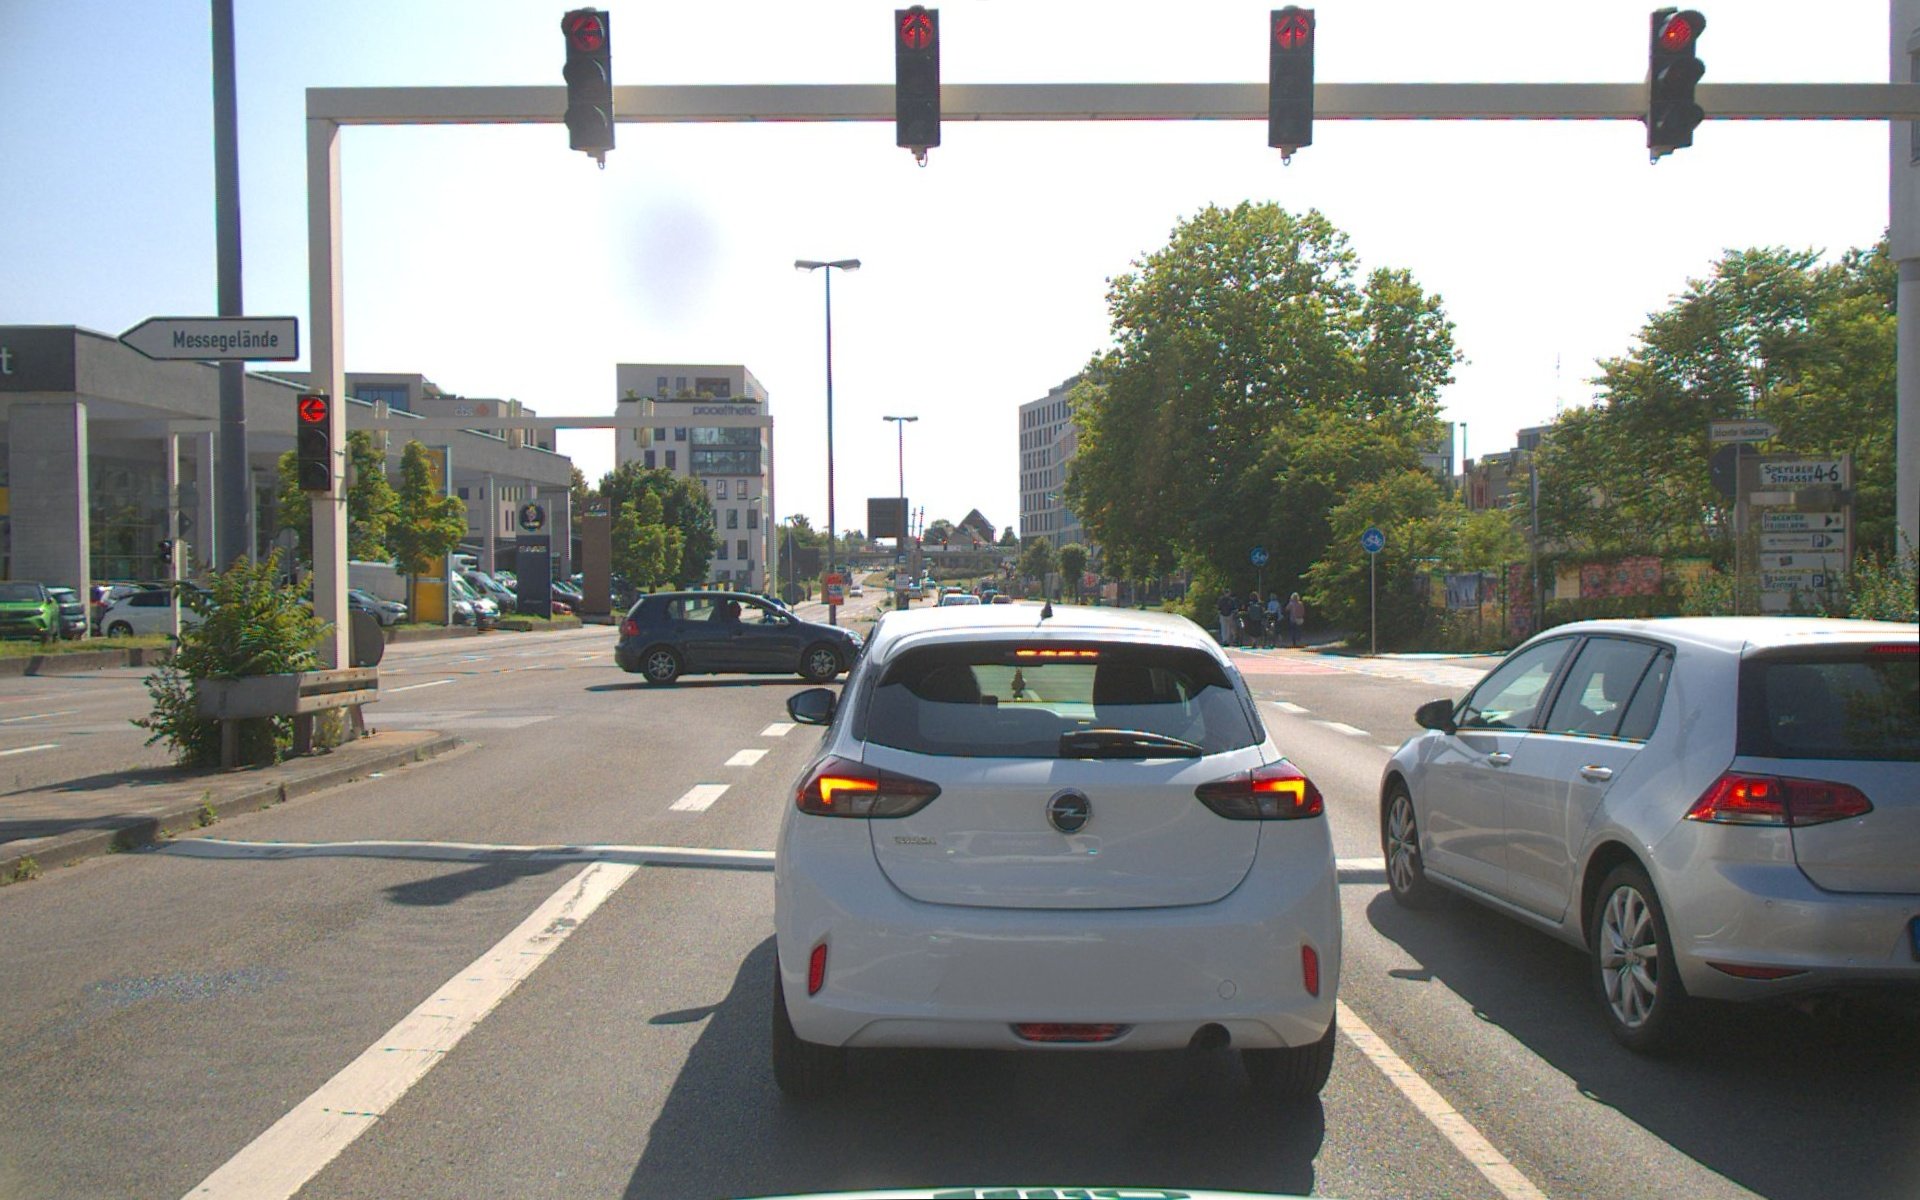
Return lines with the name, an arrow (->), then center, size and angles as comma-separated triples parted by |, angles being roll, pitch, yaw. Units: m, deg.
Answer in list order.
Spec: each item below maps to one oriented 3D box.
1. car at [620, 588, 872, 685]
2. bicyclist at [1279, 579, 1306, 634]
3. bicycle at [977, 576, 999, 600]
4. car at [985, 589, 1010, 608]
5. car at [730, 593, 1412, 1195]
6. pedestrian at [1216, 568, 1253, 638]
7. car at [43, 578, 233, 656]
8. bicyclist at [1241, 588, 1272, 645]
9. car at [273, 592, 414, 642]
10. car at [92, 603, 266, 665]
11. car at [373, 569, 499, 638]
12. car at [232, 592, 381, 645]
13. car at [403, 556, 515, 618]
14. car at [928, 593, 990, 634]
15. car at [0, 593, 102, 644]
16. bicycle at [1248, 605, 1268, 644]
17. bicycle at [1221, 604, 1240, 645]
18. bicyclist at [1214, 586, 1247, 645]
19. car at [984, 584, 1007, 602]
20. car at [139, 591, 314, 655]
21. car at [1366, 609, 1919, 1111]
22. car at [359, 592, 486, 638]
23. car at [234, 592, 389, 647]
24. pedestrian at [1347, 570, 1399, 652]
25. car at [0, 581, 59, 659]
car -> -3.504, 0.558, 26.962 | 3.915, 1.467, 1.995 | -1, 0, -11
bicyclist -> 10.060, 0.195, 50.076 | 0.639, 1.666, 0.659 | 1, -1, -1
bicycle -> 2.623, -1.157, 155.618 | 1.953, 2.195, 3.999 | -1, 0, -1
car -> 2.838, -0.119, 126.050 | 1.769, 1.410, 3.999 | 1, -1, -1
car -> 0.254, 0.742, 6.247 | 1.743, 1.520, 3.999 | -1, 0, -1
pedestrian -> 9.026, 0.095, 54.456 | 1.006, 2.278, 1.038 | 0, 0, -1
car -> -20.729, 0.404, 41.829 | 3.793, 1.870, 1.999 | -1, 0, -4
bicyclist -> 8.845, 0.479, 49.356 | 0.675, 1.672, 0.775 | 0, 0, -9
car -> -22.002, 0.586, 59.164 | 4.270, 1.726, 1.999 | -1, 0, -4
car -> -21.636, 0.933, 45.953 | 3.912, 1.627, 1.997 | -1, 0, -8
car -> -21.324, 0.145, 67.422 | 4.401, 2.731, 2.130 | -1, 0, 8
car -> -22.061, 0.611, 55.966 | 4.270, 1.726, 1.999 | -1, 0, -4
car -> -21.985, -0.578, 72.697 | 4.265, 2.646, 2.001 | -1, 0, 4
car -> -0.061, 0.463, 57.056 | 1.954, 1.355, 3.998 | 1, -1, -3
car -> -26.264, 0.538, 45.513 | 4.276, 1.290, 1.996 | -2, -1, -9
bicycle -> 8.869, 0.729, 49.266 | 0.366, 1.167, 1.034 | 1, -1, -3
bicycle -> 8.327, 0.750, 50.931 | 0.365, 1.238, 1.153 | 1, 0, -1
bicyclist -> 8.320, 0.465, 50.935 | 0.861, 1.803, 0.863 | 0, 0, -1
car -> 3.044, -0.600, 141.497 | 1.769, 1.410, 3.999 | 1, -1, -1
car -> -21.498, 0.657, 48.604 | 4.211, 1.796, 1.999 | -1, 0, -4
car -> 3.128, 0.774, 6.896 | 1.771, 1.454, 3.998 | -1, 0, -2
car -> -21.067, 0.560, 64.949 | 4.265, 1.726, 2.001 | -1, 0, 4
car -> -21.017, 0.618, 53.754 | 4.270, 1.726, 1.999 | 0, 0, -3
pedestrian -> 10.429, 0.267, 41.790 | 1.006, 2.049, 1.038 | 0, 0, -1
car -> -22.559, 0.495, 38.934 | 1.887, 1.764, 3.250 | -1, -1, -37
